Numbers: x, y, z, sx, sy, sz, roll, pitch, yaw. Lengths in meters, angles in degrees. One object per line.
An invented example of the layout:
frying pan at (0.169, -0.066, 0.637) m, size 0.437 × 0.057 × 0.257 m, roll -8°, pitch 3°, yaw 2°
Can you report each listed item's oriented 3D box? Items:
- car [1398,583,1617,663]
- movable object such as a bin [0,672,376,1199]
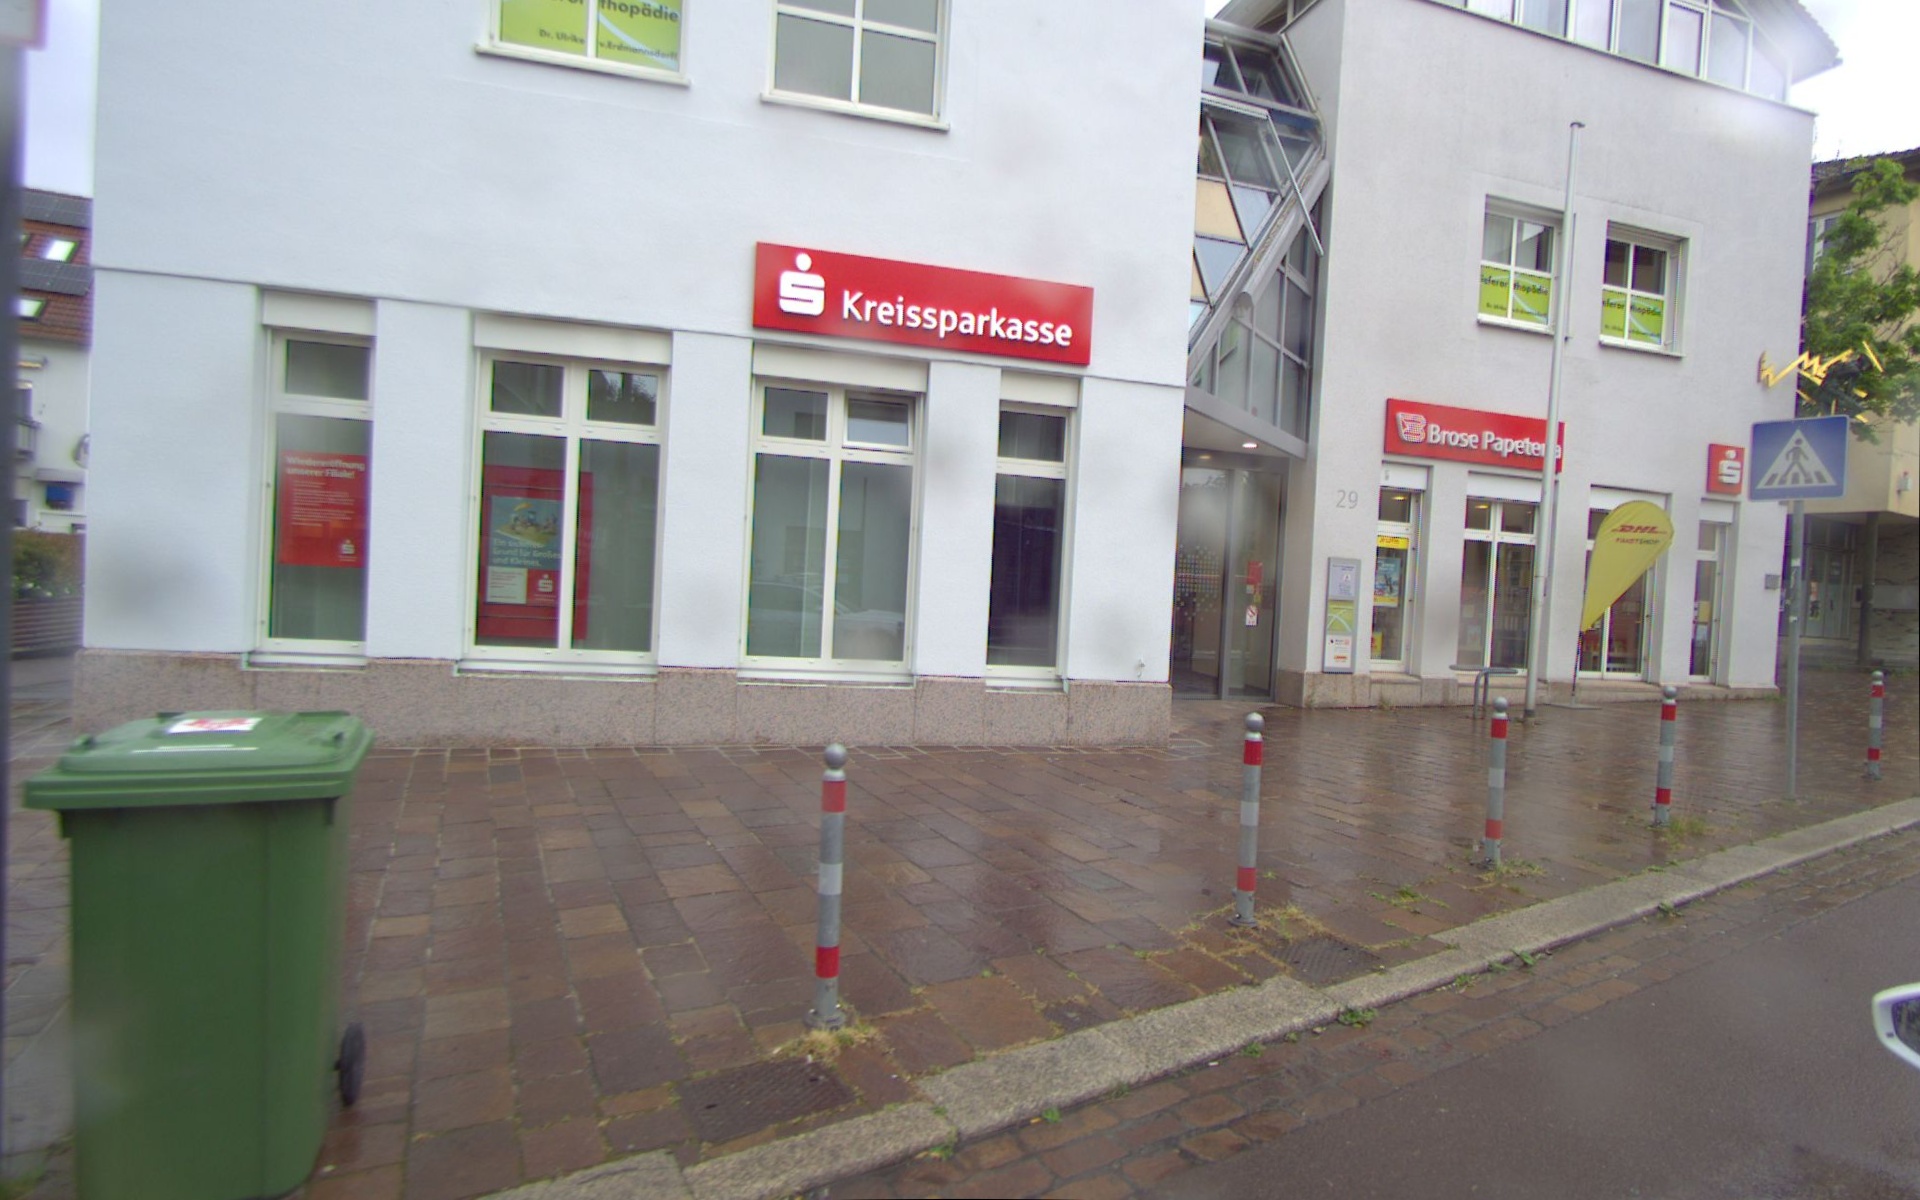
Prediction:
car at (11.914, 0.447, 22.191) m, size 1.935 × 1.585 × 3.983 m, roll 1°, pitch 0°, yaw -19°
movable object such as a bin at (-1.764, 0.755, 2.380) m, size 0.605 × 1.110 × 0.656 m, roll 2°, pitch 1°, yaw -28°
